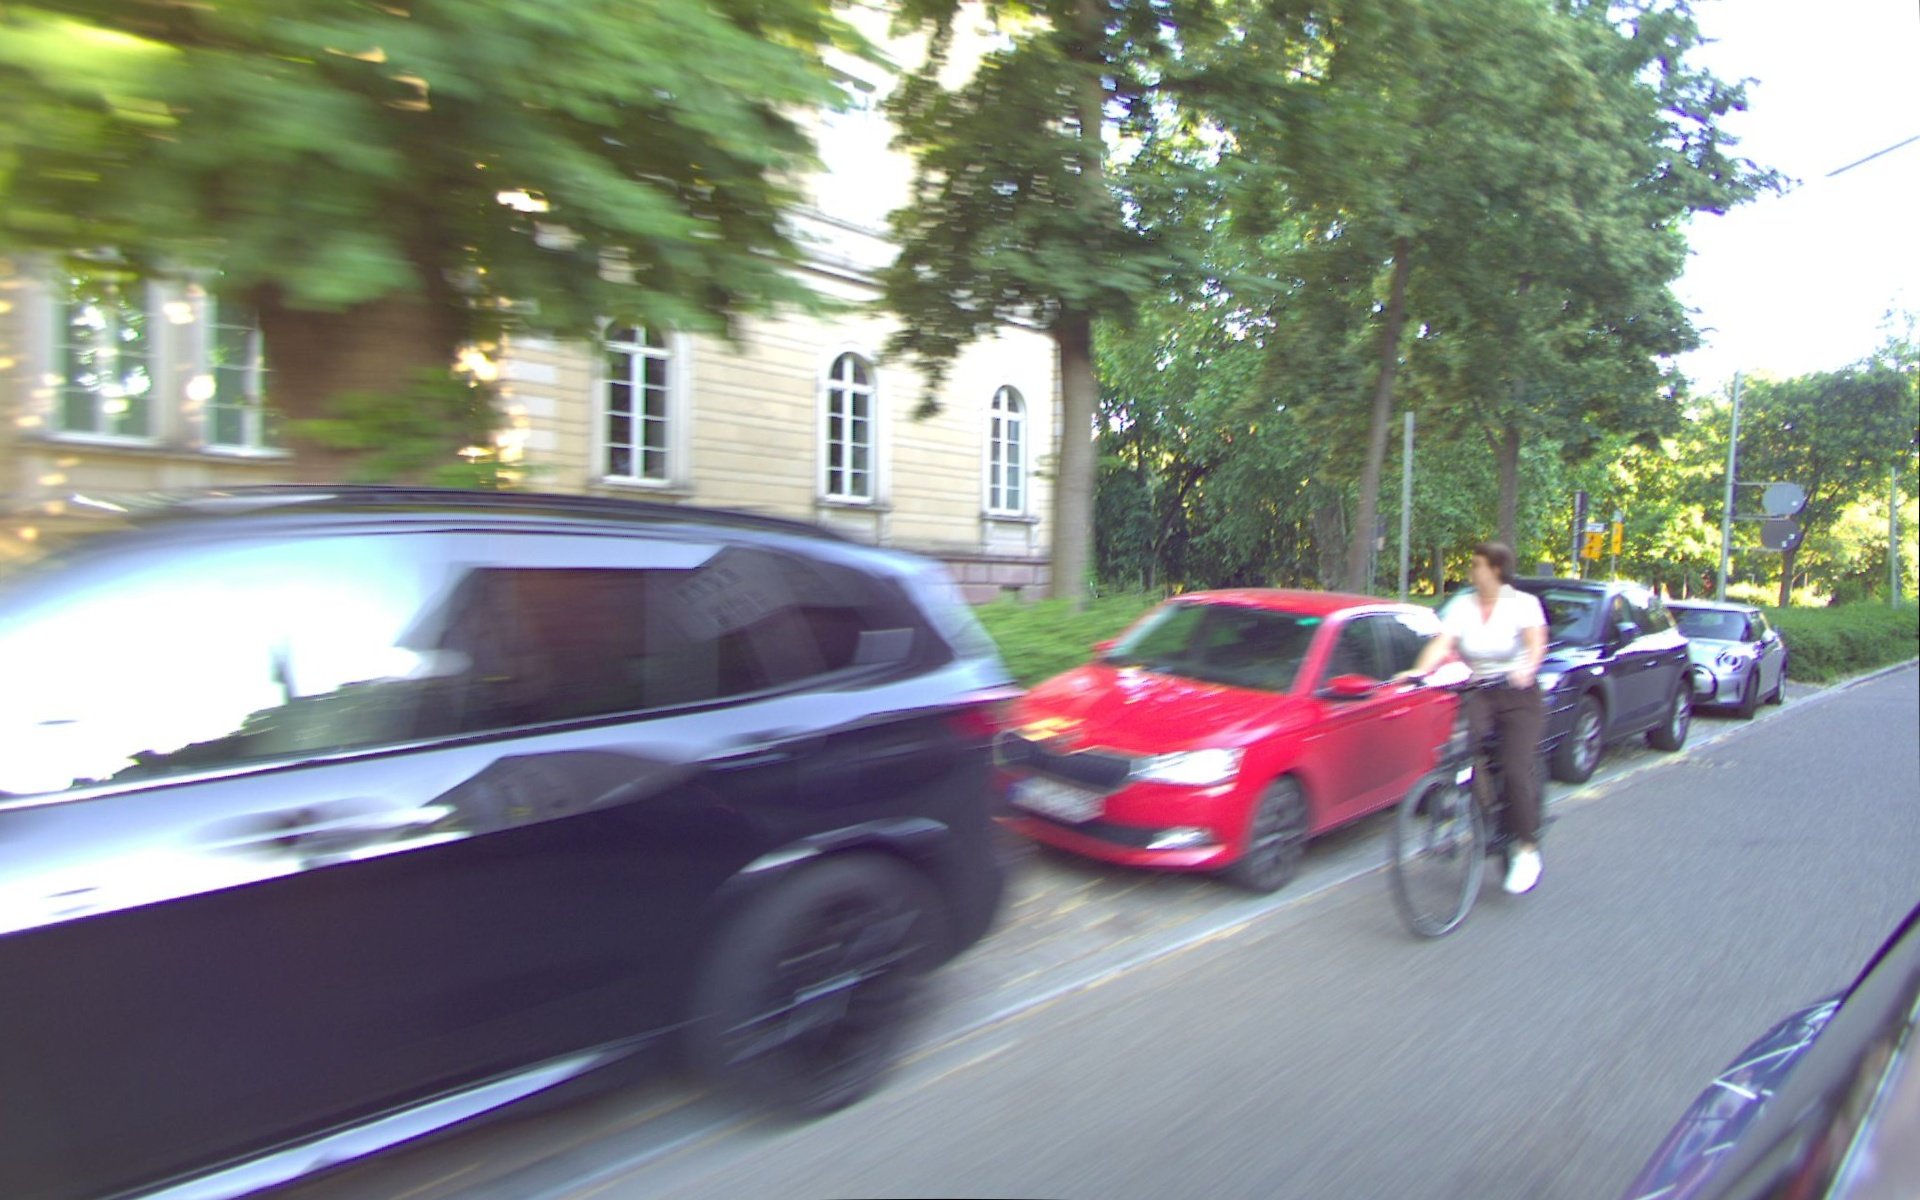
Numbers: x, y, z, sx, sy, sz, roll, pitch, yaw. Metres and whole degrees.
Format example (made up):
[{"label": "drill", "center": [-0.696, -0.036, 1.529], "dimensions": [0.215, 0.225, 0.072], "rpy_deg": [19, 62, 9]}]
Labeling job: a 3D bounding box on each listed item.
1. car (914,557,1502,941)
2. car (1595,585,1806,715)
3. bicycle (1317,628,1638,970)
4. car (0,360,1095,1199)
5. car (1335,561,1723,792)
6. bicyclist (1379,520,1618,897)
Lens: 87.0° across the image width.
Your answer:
[{"label": "car", "center": [1.737, 0.561, 6.228], "dimensions": [3.905, 1.608, 1.725], "rpy_deg": [-2, 2, -44]}, {"label": "car", "center": [10.265, 0.563, 13.919], "dimensions": [3.935, 1.456, 1.725], "rpy_deg": [-2, 2, -44]}, {"label": "bicycle", "center": [2.641, 0.811, 5.014], "dimensions": [2.173, 1.268, 0.752], "rpy_deg": [0, 1, -44]}, {"label": "car", "center": [-1.980, 0.477, 2.639], "dimensions": [4.859, 1.835, 1.809], "rpy_deg": [-1, 2, -39]}, {"label": "car", "center": [5.636, 0.494, 9.742], "dimensions": [4.615, 1.708, 1.884], "rpy_deg": [-2, 2, -42]}, {"label": "bicyclist", "center": [2.675, 0.460, 5.007], "dimensions": [1.021, 1.633, 0.752], "rpy_deg": [0, 1, -44]}]
